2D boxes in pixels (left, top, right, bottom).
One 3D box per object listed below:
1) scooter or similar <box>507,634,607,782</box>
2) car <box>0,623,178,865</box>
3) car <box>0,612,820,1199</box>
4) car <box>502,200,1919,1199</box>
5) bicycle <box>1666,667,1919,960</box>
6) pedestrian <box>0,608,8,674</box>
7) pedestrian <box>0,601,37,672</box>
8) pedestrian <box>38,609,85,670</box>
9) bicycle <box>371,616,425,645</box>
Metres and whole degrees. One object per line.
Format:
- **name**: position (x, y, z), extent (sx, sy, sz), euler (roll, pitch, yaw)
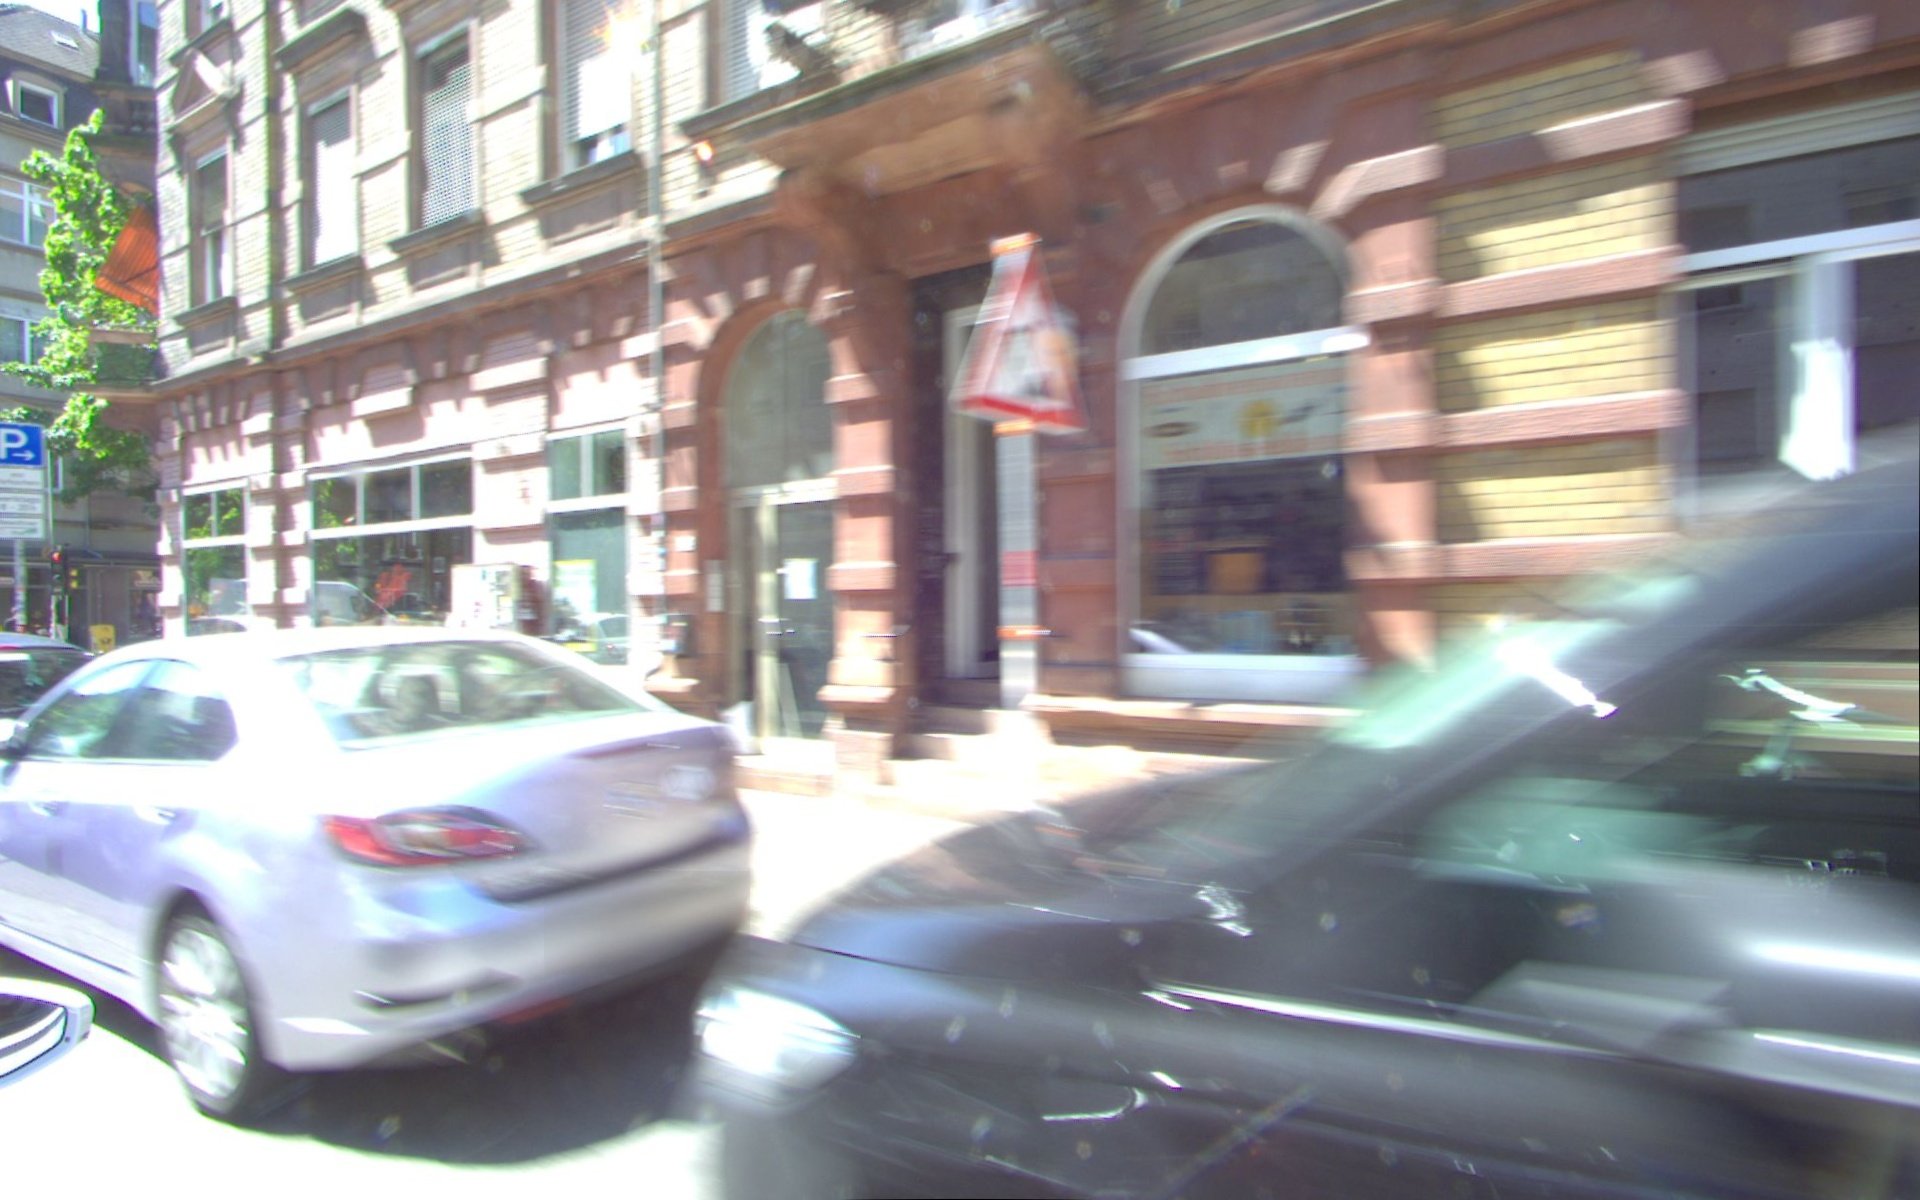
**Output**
- **scooter or similar**: position (-3.525, 0.899, 8.722), extent (1.257, 1.192, 0.291), euler (0, -1, 42)
- **car**: position (-7.334, 0.906, 7.092), extent (3.606, 1.451, 1.624), euler (-1, 0, 31)
- **car**: position (-2.884, 0.802, 4.317), extent (4.419, 1.451, 1.722), euler (-1, 0, 31)
- **car**: position (1.543, 0.582, 1.358), extent (4.274, 1.790, 1.821), euler (-1, 0, 31)
- **bicycle**: position (3.936, 0.862, 4.059), extent (1.730, 1.118, 0.353), euler (0, 0, 32)
- **pedestrian**: position (-24.710, 1.055, 25.397), extent (0.415, 1.668, 0.701), euler (3, 4, 24)
- **pedestrian**: position (-24.532, 0.951, 26.069), extent (0.463, 1.794, 0.575), euler (3, 4, 24)
- **pedestrian**: position (-24.462, 1.059, 27.265), extent (0.634, 1.645, 0.800), euler (0, 0, 31)
- **bicycle**: position (-20.600, 1.116, 36.728), extent (0.497, 1.010, 1.722), euler (2, 0, 28)
